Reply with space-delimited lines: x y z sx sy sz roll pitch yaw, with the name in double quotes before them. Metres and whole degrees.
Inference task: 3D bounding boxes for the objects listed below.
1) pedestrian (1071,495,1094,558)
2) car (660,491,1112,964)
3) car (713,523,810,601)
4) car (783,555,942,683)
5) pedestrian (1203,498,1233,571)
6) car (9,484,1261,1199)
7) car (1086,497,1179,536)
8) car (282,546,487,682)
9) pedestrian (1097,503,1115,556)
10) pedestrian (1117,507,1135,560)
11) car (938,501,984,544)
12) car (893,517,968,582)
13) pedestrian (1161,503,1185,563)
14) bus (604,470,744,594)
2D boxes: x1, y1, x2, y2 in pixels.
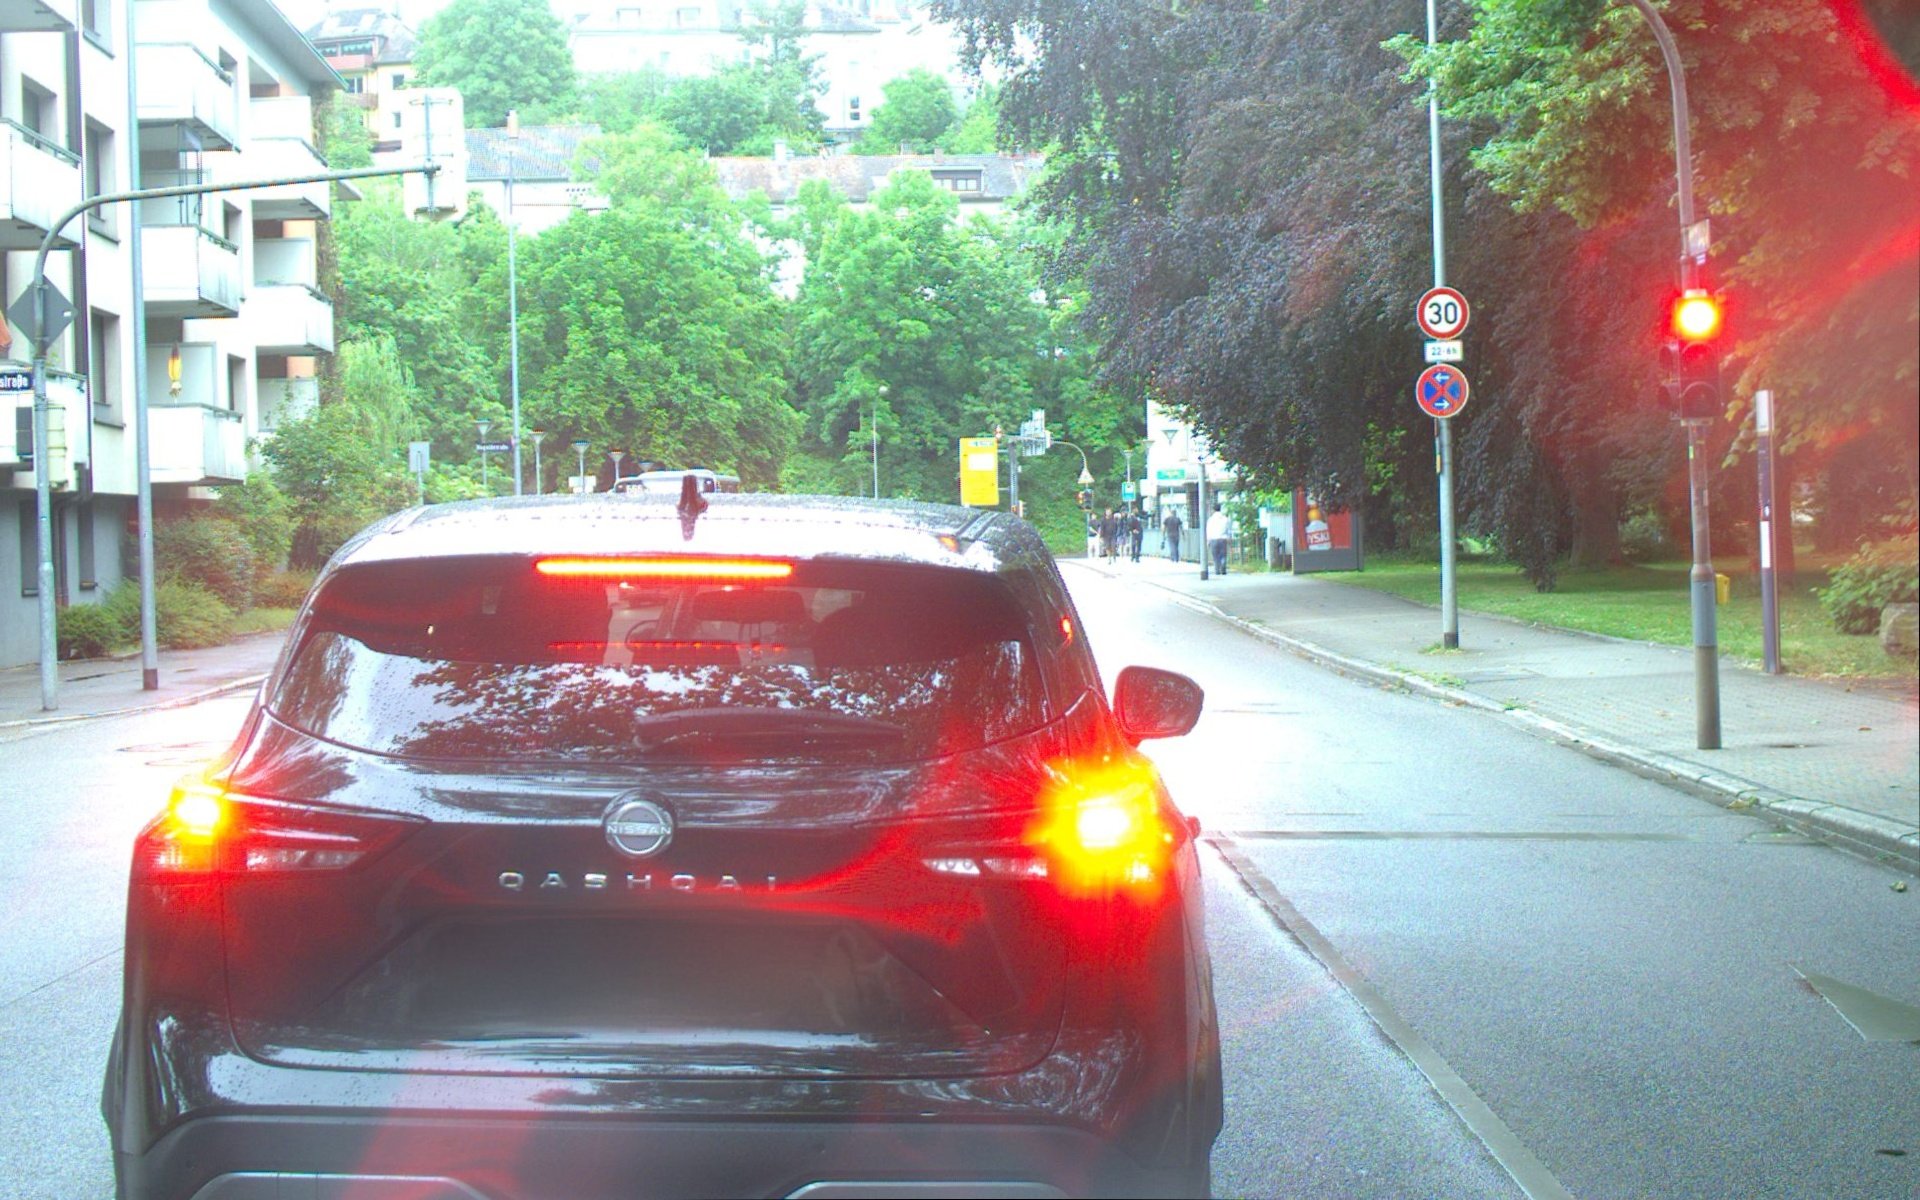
"pedestrian" 4.252 -2.541 119.038 0.768 2.176 0.711 1 0 3
"car" -0.241 0.436 14.689 1.622 1.703 3.771 -2 1 1
"car" -3.811 -0.745 66.523 1.624 1.410 3.455 -2 1 0
"car" -1.171 0.191 41.150 1.808 1.412 4.031 0 1 -2
"pedestrian" 6.319 -1.601 84.208 0.618 1.773 0.778 -2 1 -1
"car" -0.498 0.615 6.999 1.806 1.584 4.000 1 1 -1
"car" 8.213 -3.964 163.743 3.986 1.678 2.001 -2 1 -10
"car" -6.795 0.124 40.961 1.808 1.412 4.031 -3 1 -2
"pedestrian" 4.592 -2.210 108.205 0.544 1.645 0.490 1 0 0
"pedestrian" 5.177 -2.073 107.046 0.514 1.650 0.550 1 0 -1
"car" 0.022 -3.091 136.511 1.750 1.628 3.635 -2 1 0
"car" -0.652 -1.167 78.678 1.624 1.410 3.455 -2 1 0
"pedestrian" 6.412 -2.013 103.587 0.618 1.773 0.551 -2 1 -1
"bus" -7.426 -1.767 90.676 2.766 2.964 11.782 -2 1 -1
